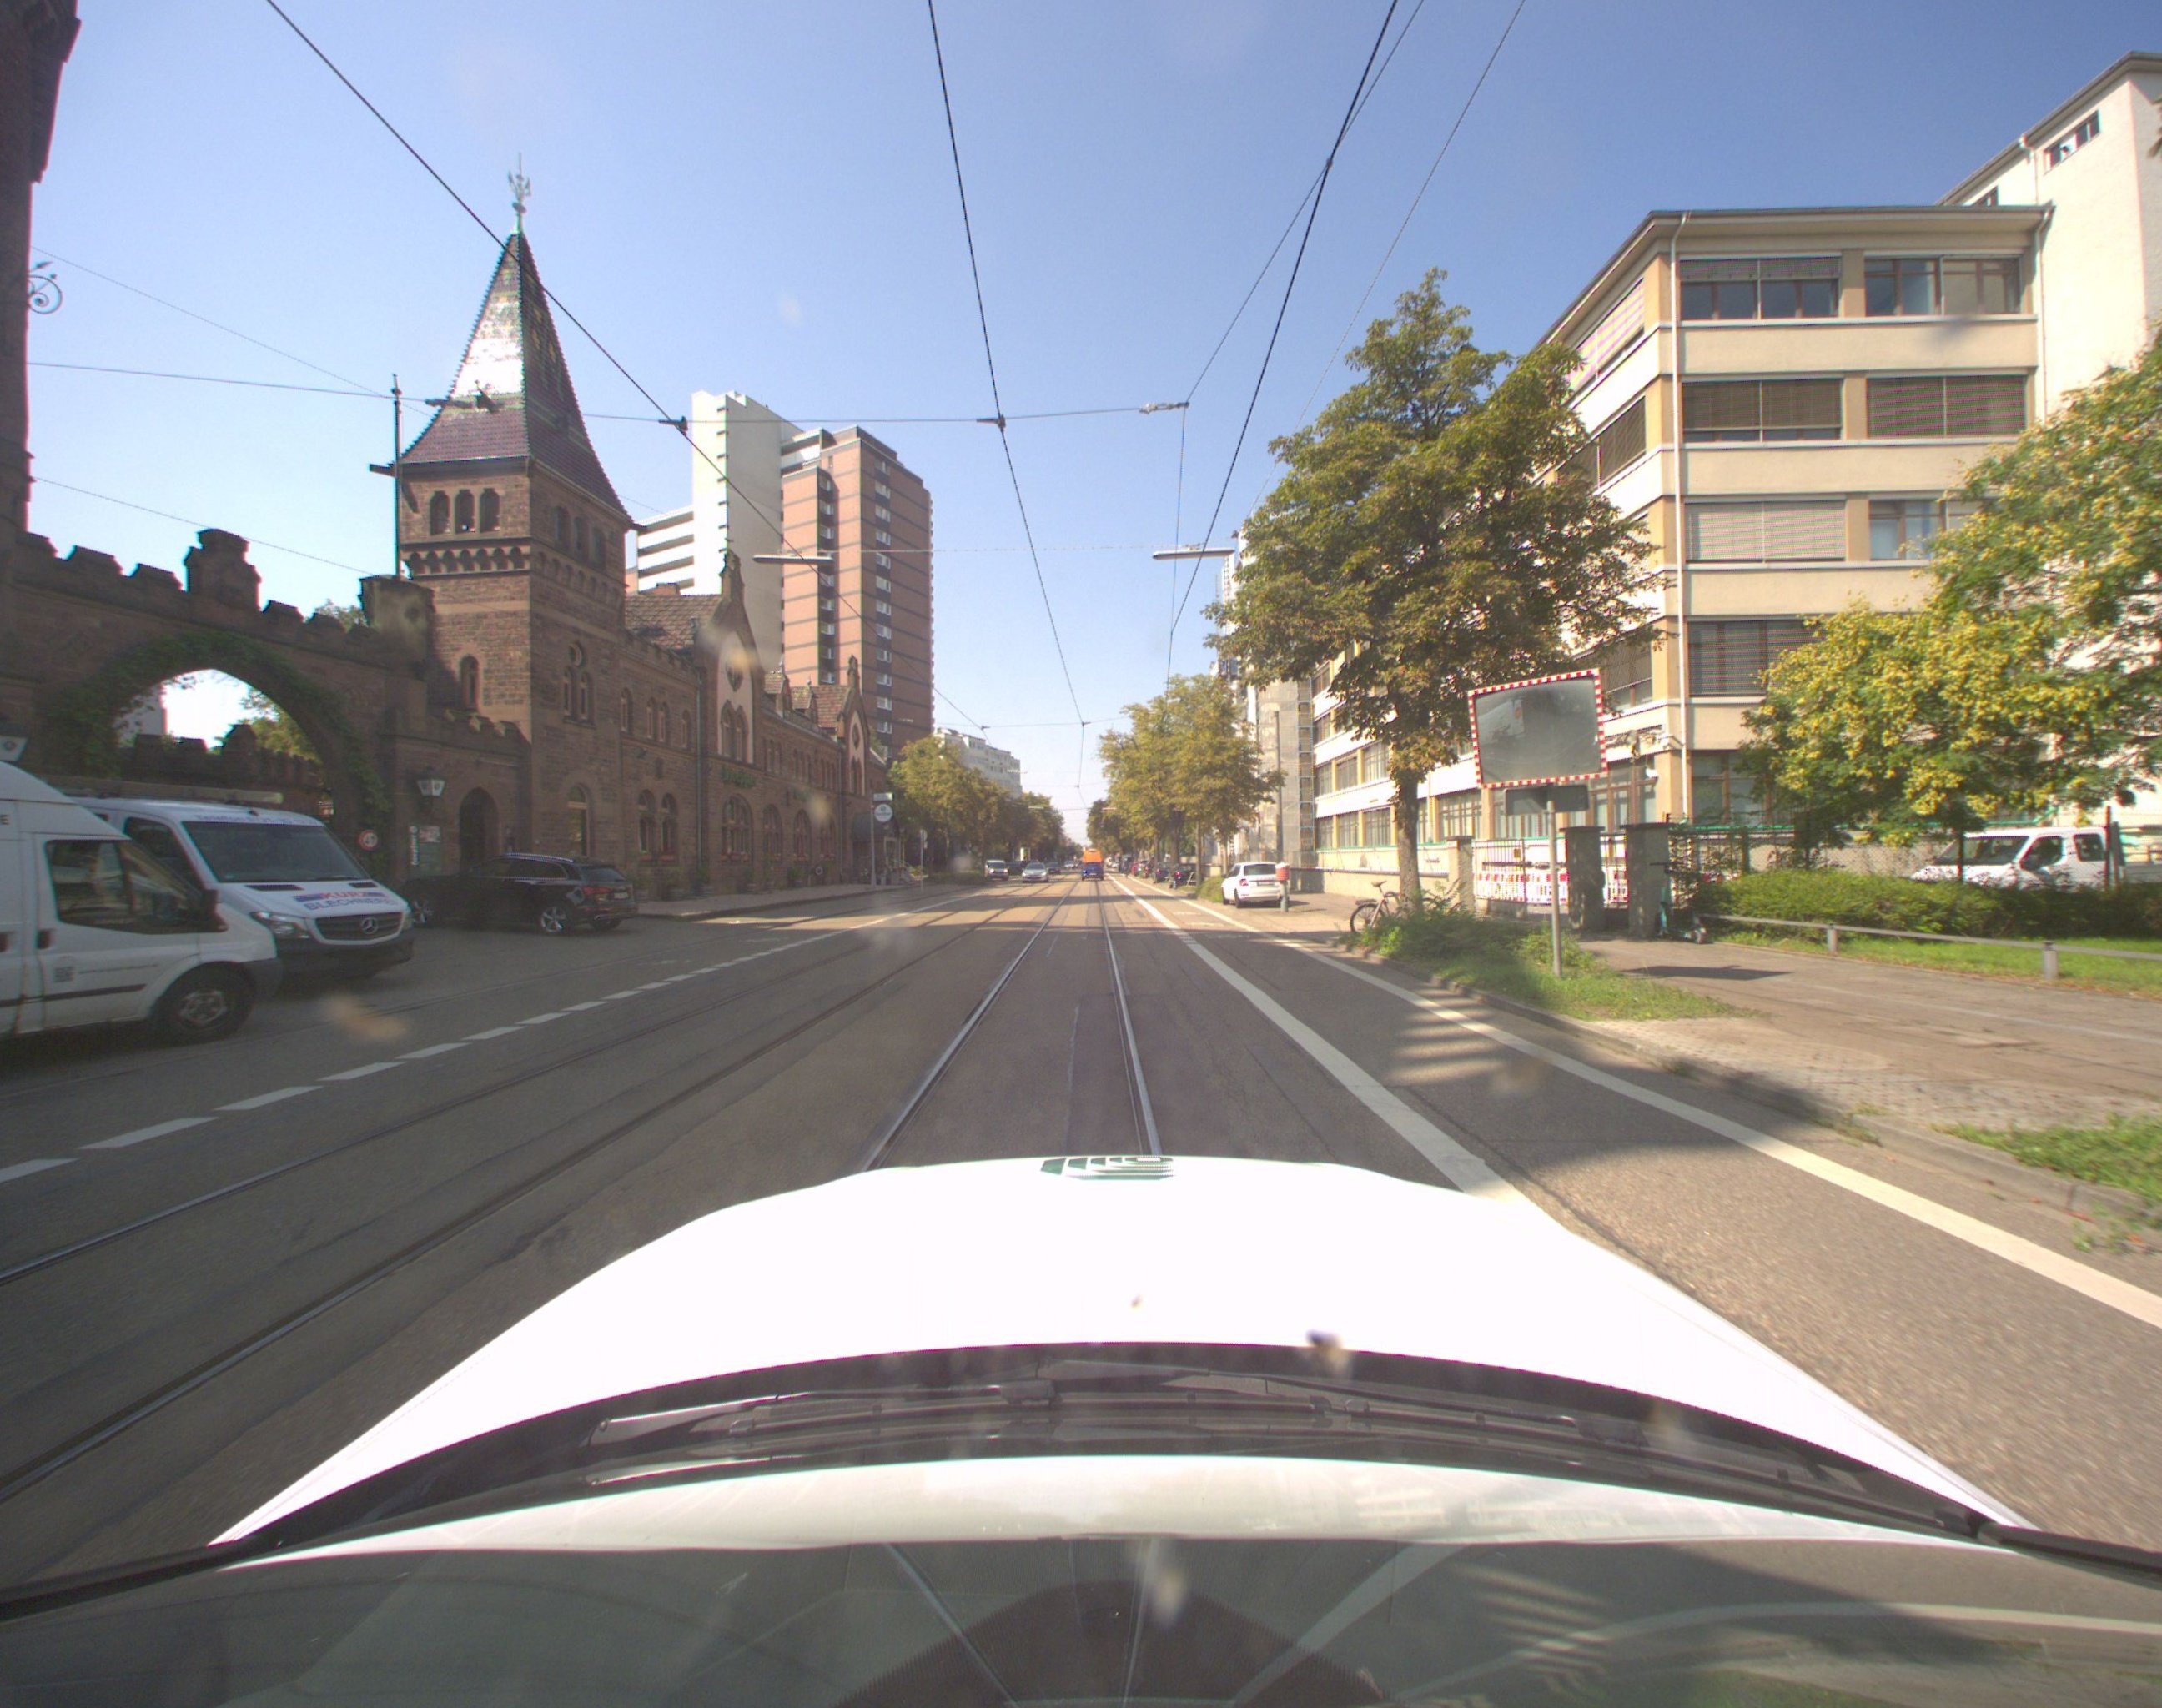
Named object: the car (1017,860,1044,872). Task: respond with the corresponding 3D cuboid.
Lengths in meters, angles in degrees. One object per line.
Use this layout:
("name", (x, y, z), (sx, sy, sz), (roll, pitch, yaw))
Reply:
("car", (-8.056, 1.901, 130.343), (4.022, 2.014, 1.834), (0, -1, -42))

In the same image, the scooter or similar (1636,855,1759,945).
("scooter or similar", (9.270, 0.655, 12.334), (0.554, 1.259, 1.819), (-1, -1, 3))

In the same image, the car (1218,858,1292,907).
("car", (5.771, 0.899, 27.424), (1.653, 1.481, 4.218), (-2, -1, 1))

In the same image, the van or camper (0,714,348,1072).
("van or camper", (-9.148, 0.296, 5.903), (2.104, 2.675, 5.958), (-1, -1, 2))

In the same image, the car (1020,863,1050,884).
("car", (-3.451, 1.467, 62.129), (1.840, 1.492, 4.868), (-1, 0, 1))

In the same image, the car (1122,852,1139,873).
("car", (6.727, 1.169, 111.665), (1.987, 2.756, 5.760), (-1, -1, 0))

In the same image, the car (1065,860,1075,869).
("car", (-2.177, 2.027, 161.251), (1.774, 1.684, 4.346), (0, -1, 0))

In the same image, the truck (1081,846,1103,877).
("truck", (1.156, 0.786, 84.905), (2.128, 3.124, 6.085), (-2, -1, 1))

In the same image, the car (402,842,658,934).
("car", (-11.846, 0.703, 17.736), (4.120, 1.744, 2.001), (2, 0, 1))

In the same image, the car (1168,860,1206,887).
("car", (5.918, 1.078, 45.805), (1.653, 1.408, 4.218), (-2, -1, 1))

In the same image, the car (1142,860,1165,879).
("car", (6.269, 1.311, 70.452), (1.628, 1.585, 4.187), (-1, 0, 0))

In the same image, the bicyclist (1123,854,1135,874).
("bicyclist", (4.284, 0.891, 72.946), (1.028, 1.812, 1.016), (-1, -1, 0))

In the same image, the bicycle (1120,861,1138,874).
("bicycle", (4.251, 1.191, 72.960), (1.397, 1.134, 4.000), (-1, -1, 1))

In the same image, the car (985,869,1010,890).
("car", (-7.666, 2.301, 74.241), (1.749, 1.796, 3.981), (0, -1, -14))

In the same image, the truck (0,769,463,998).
("truck", (-12.040, 0.268, 10.764), (6.290, 2.538, 2.134), (2, 1, 5))

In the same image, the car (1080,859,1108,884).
("car", (1.087, 1.379, 65.936), (2.128, 1.858, 5.569), (-2, -1, 1))

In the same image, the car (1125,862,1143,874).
("car", (6.565, 1.685, 101.065), (1.902, 1.432, 4.291), (-1, 0, 0))

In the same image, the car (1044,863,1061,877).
("car", (-3.290, 1.832, 94.467), (1.675, 1.571, 4.207), (-1, 0, 1))

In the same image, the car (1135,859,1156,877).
("car", (6.353, 1.347, 80.547), (1.735, 1.668, 4.361), (-1, 0, 0))

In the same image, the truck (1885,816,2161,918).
("truck", (23.717, 0.305, 20.045), (5.486, 2.326, 2.300), (-1, -1, 2))

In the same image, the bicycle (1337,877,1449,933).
("bicycle", (5.603, 0.915, 14.665), (1.806, 0.958, 0.558), (-1, -1, 0))

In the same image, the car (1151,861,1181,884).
("car", (5.928, 1.289, 57.354), (1.736, 1.556, 4.218), (-2, -1, 1))
